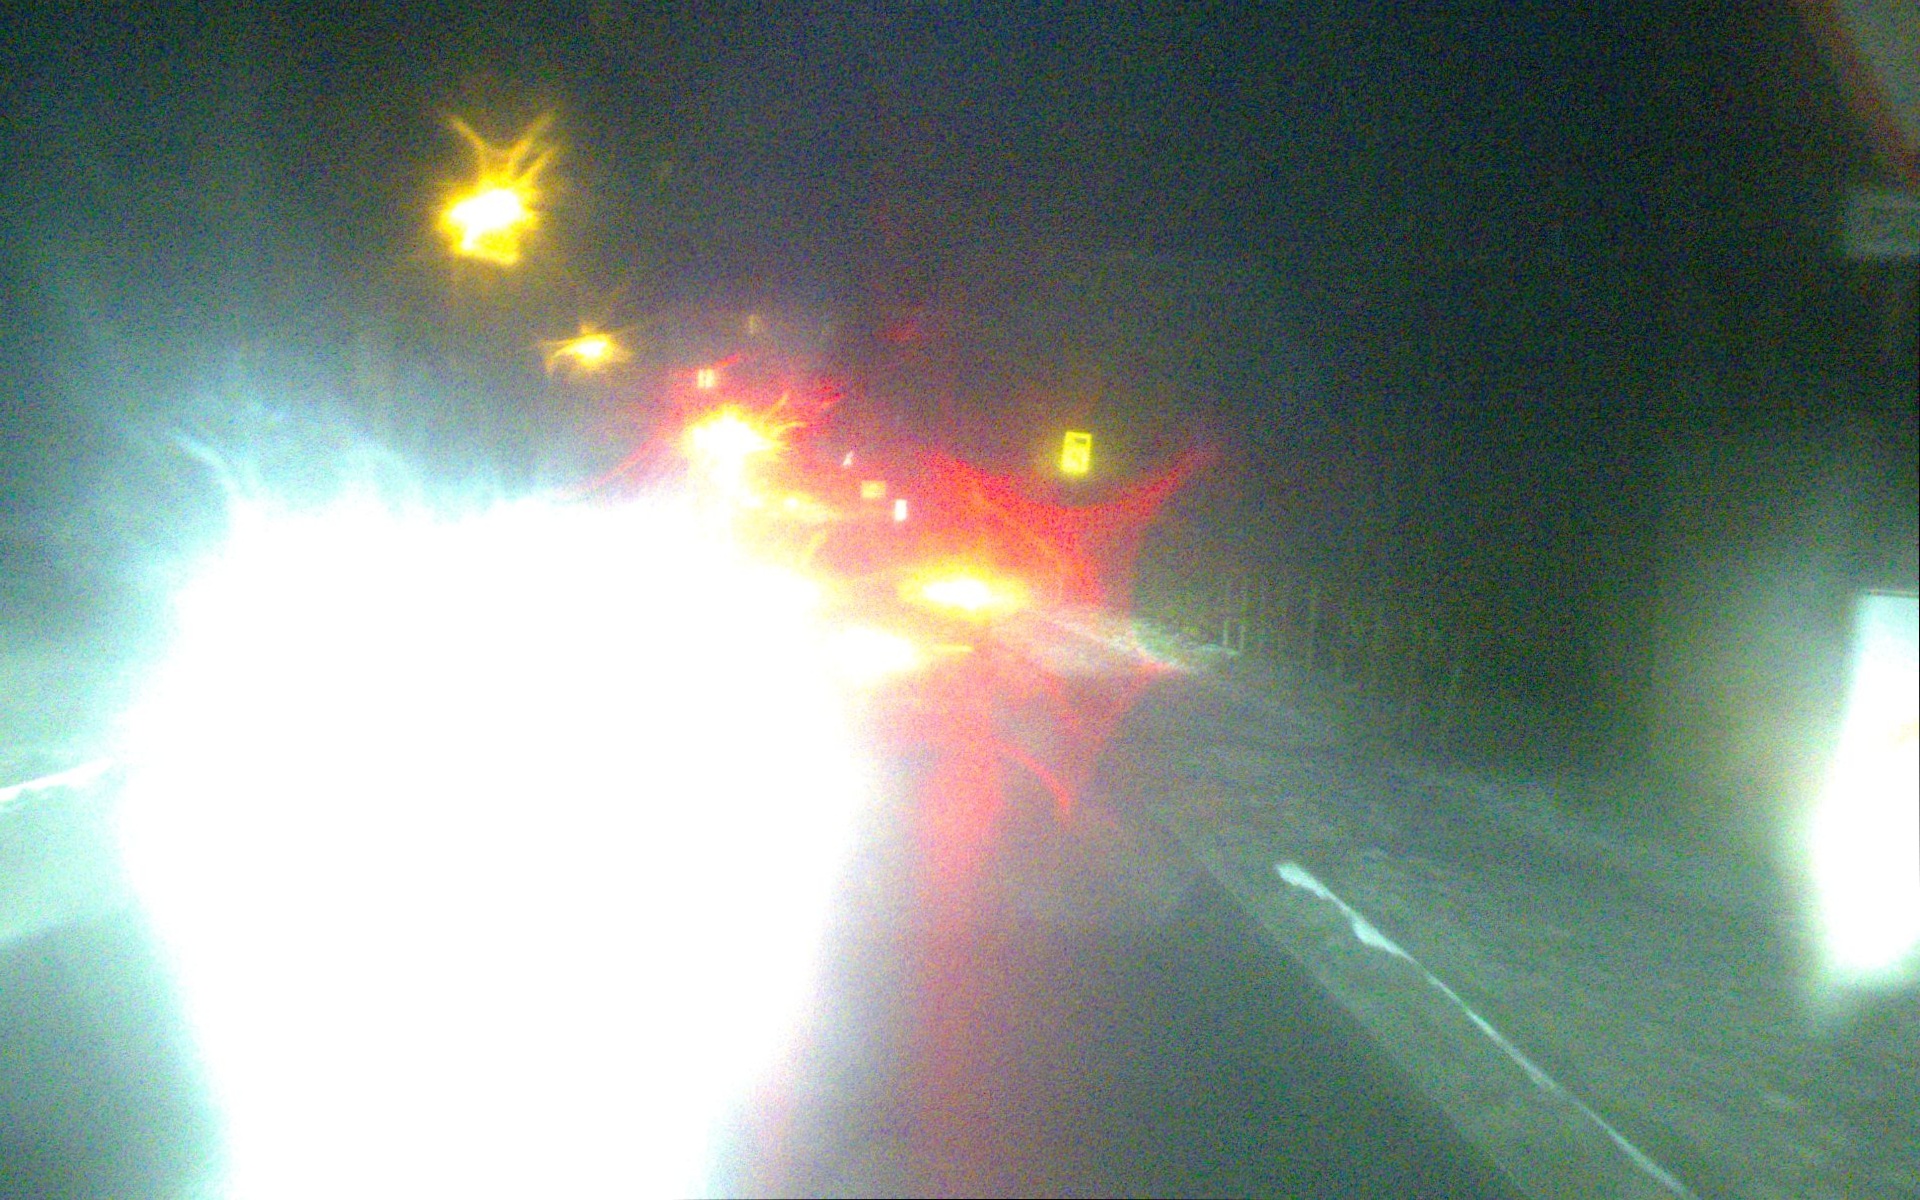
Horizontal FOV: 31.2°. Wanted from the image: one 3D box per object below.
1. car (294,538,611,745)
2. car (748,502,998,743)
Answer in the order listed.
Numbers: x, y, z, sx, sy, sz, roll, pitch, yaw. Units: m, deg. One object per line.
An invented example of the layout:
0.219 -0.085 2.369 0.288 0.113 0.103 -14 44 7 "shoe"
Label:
-3.957 0.287 27.456 1.914 1.470 4.203 2 0 -1 "car"
-0.700 0.108 26.744 1.790 1.675 3.905 0 2 -2 "car"
